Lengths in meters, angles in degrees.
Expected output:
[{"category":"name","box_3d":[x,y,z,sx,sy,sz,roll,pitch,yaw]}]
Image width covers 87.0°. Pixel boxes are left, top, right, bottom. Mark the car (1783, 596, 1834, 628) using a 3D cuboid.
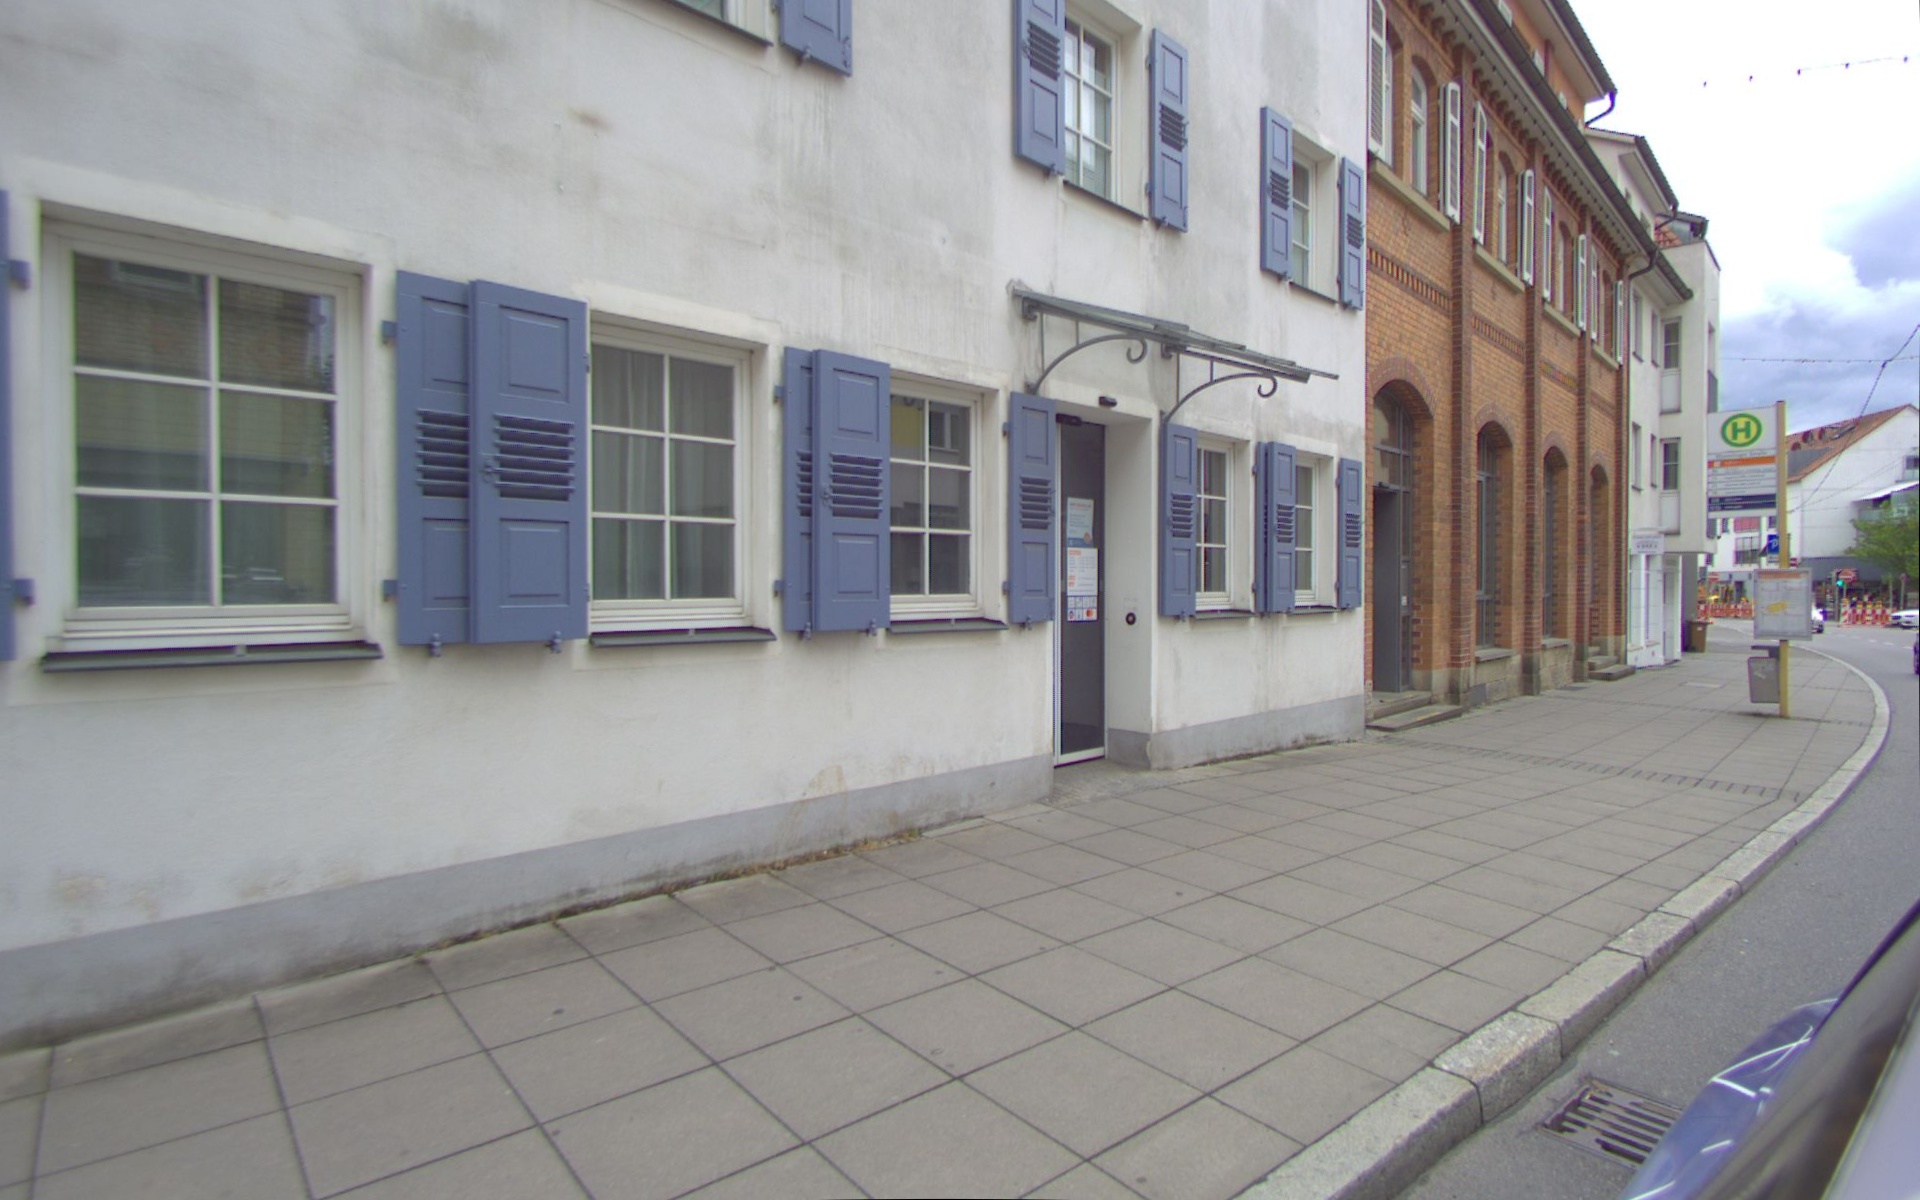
[{"category":"car","box_3d":[38.920,0.509,46.461,1.748,1.372,3.942,1,0,40]}]
